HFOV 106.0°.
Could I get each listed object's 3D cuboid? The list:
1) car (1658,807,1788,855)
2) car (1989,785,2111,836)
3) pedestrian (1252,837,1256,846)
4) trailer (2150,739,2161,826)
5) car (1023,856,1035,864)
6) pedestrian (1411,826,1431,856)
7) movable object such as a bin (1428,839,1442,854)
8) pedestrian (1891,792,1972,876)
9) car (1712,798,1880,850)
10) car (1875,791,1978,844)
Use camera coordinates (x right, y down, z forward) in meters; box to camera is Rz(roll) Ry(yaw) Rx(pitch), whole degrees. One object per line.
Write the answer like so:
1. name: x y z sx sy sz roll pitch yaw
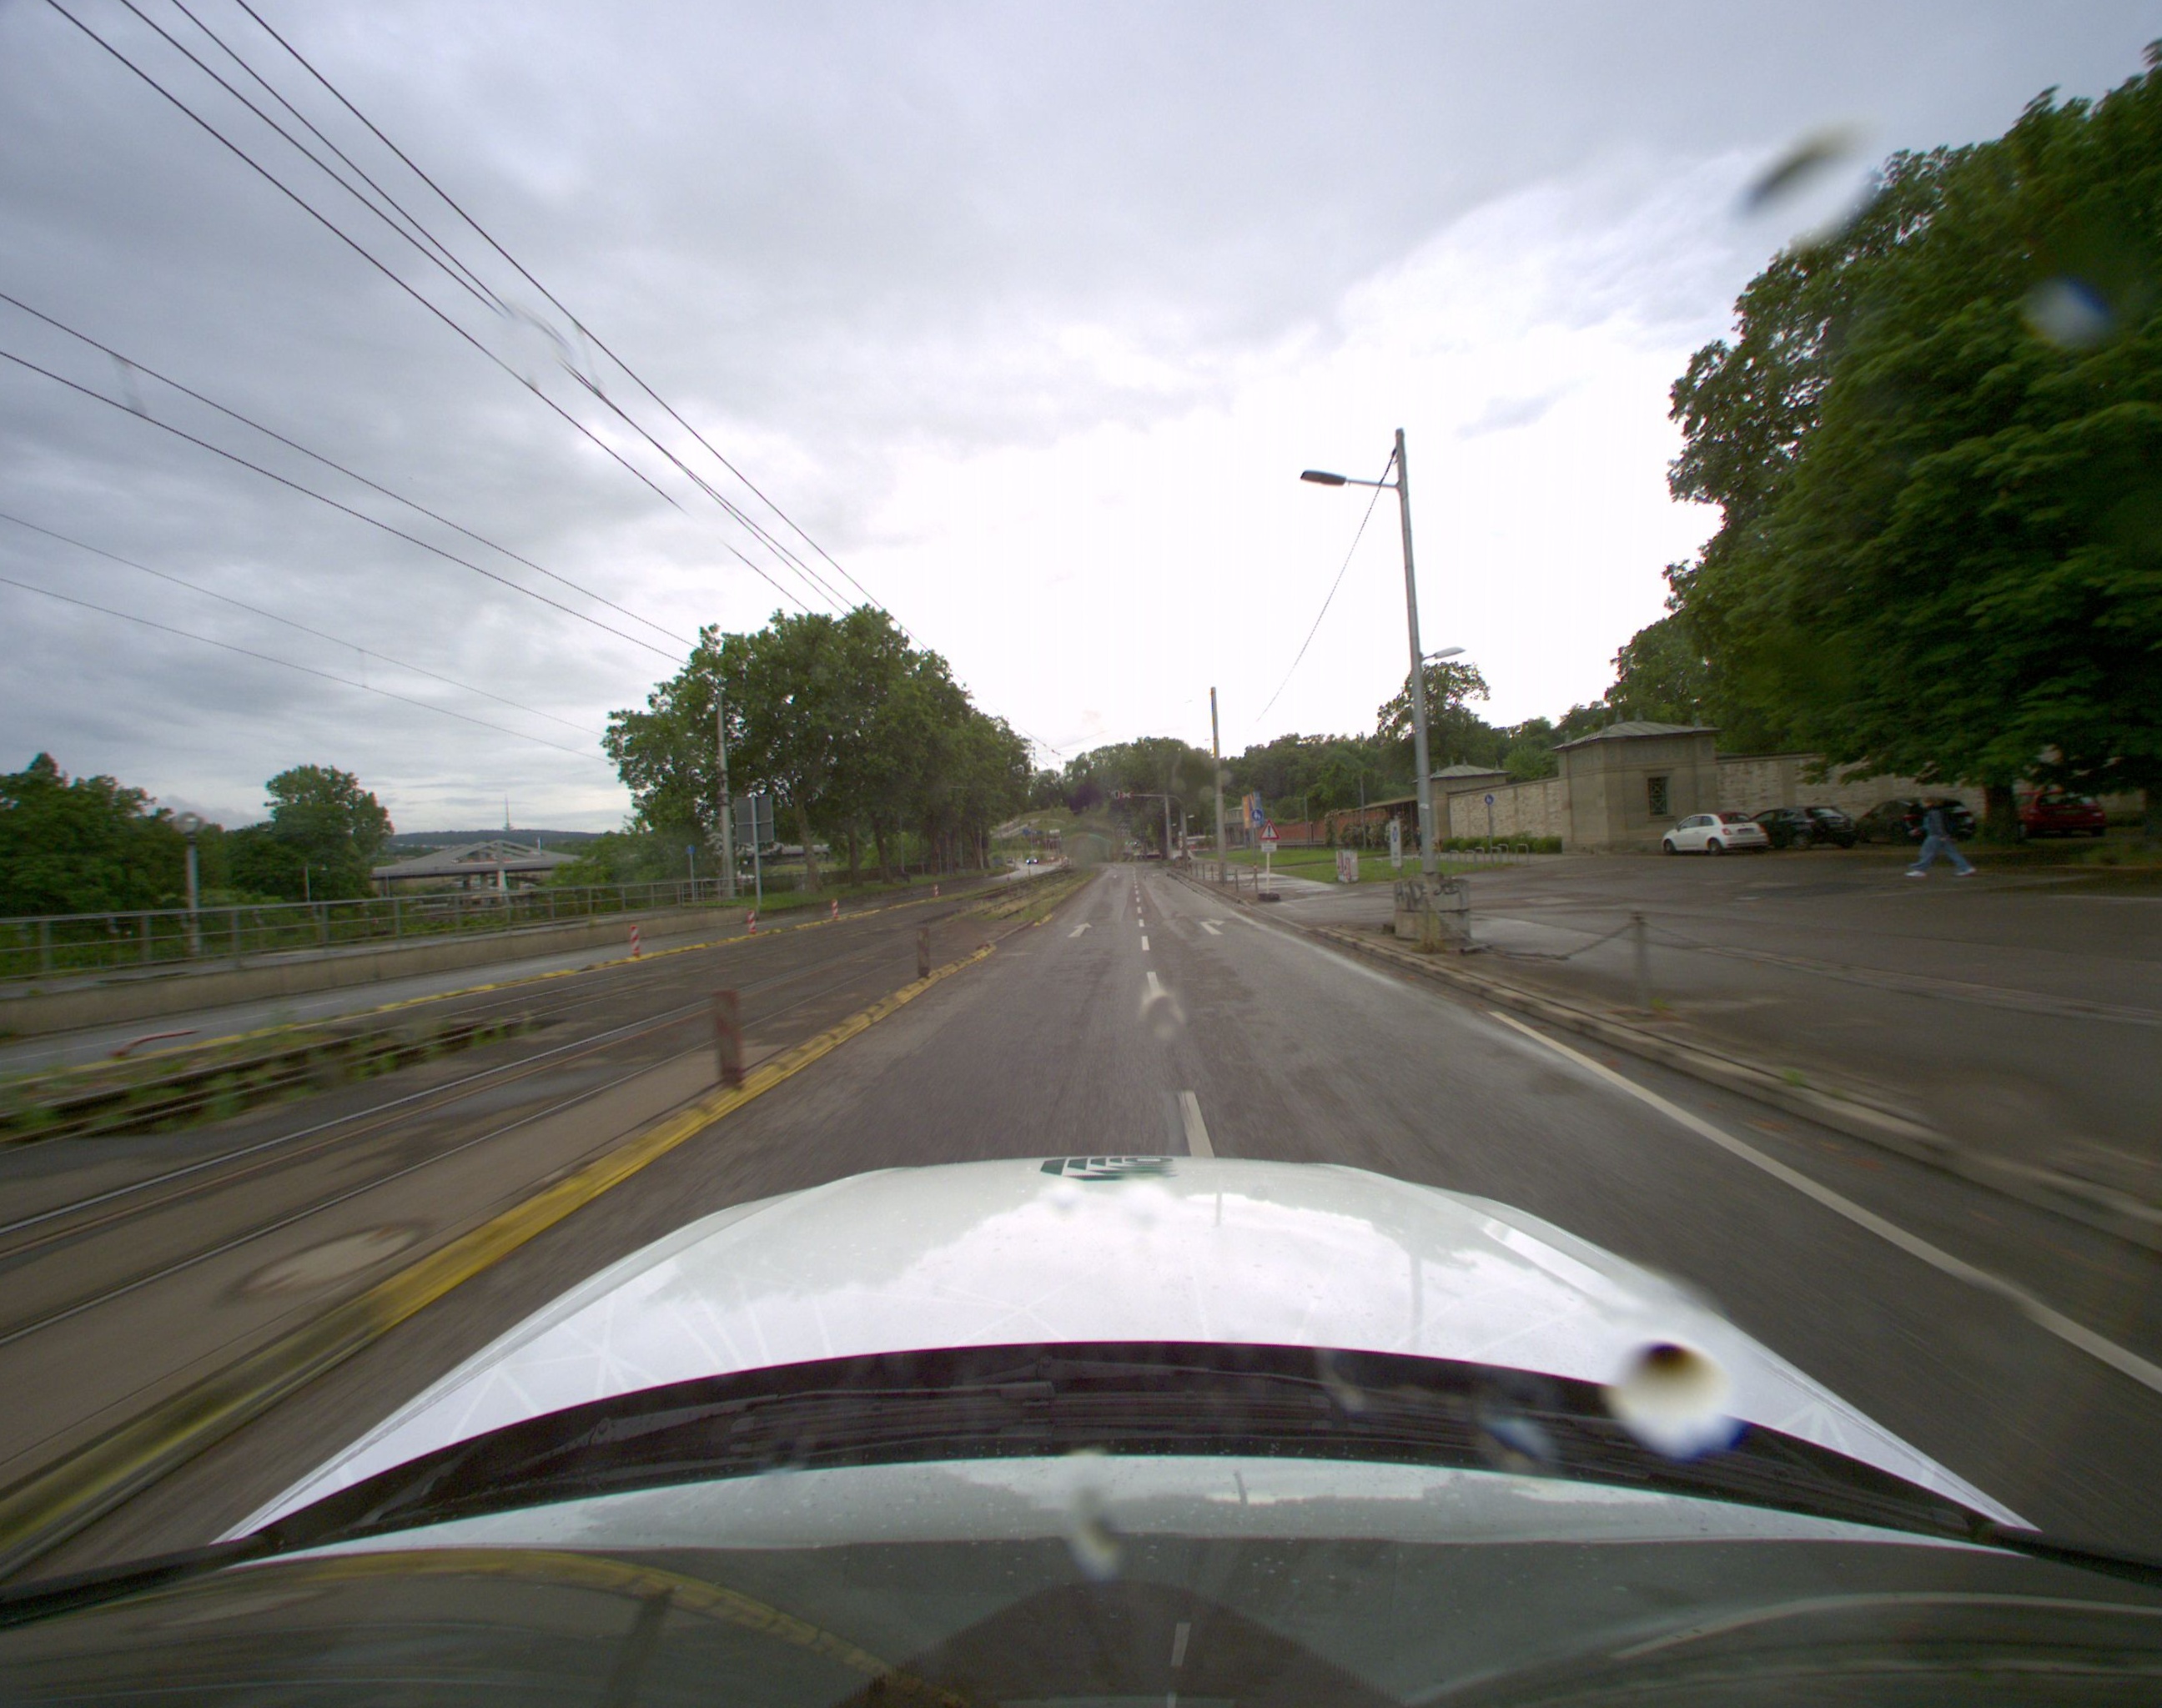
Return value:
1. car: 22.515 -0.806 28.741 1.829 1.454 3.601 -4 2 3
2. car: 31.664 -1.417 26.747 1.660 1.442 4.180 -4 0 38
3. pedestrian: 32.250 -2.310 151.569 0.544 1.657 0.472 -4 -2 38
4. trailer: 33.874 -2.216 23.824 2.121 2.785 5.691 -4 0 43
5. car: -9.911 1.170 154.513 1.739 1.429 4.563 -5 0 2
6. pedestrian: 20.161 -0.755 48.352 0.725 1.711 0.982 -4 -1 4
7. movable object such as a bin: 20.759 -0.436 47.797 0.340 0.872 1.193 -4 -1 4
8. pedestrian: 17.004 -0.399 16.300 0.854 1.590 0.672 -5 -1 29
9. car: 24.915 -0.994 28.597 1.893 1.489 4.176 -4 0 -8
10. car: 28.351 -1.241 27.437 1.753 1.527 4.129 -4 0 38
